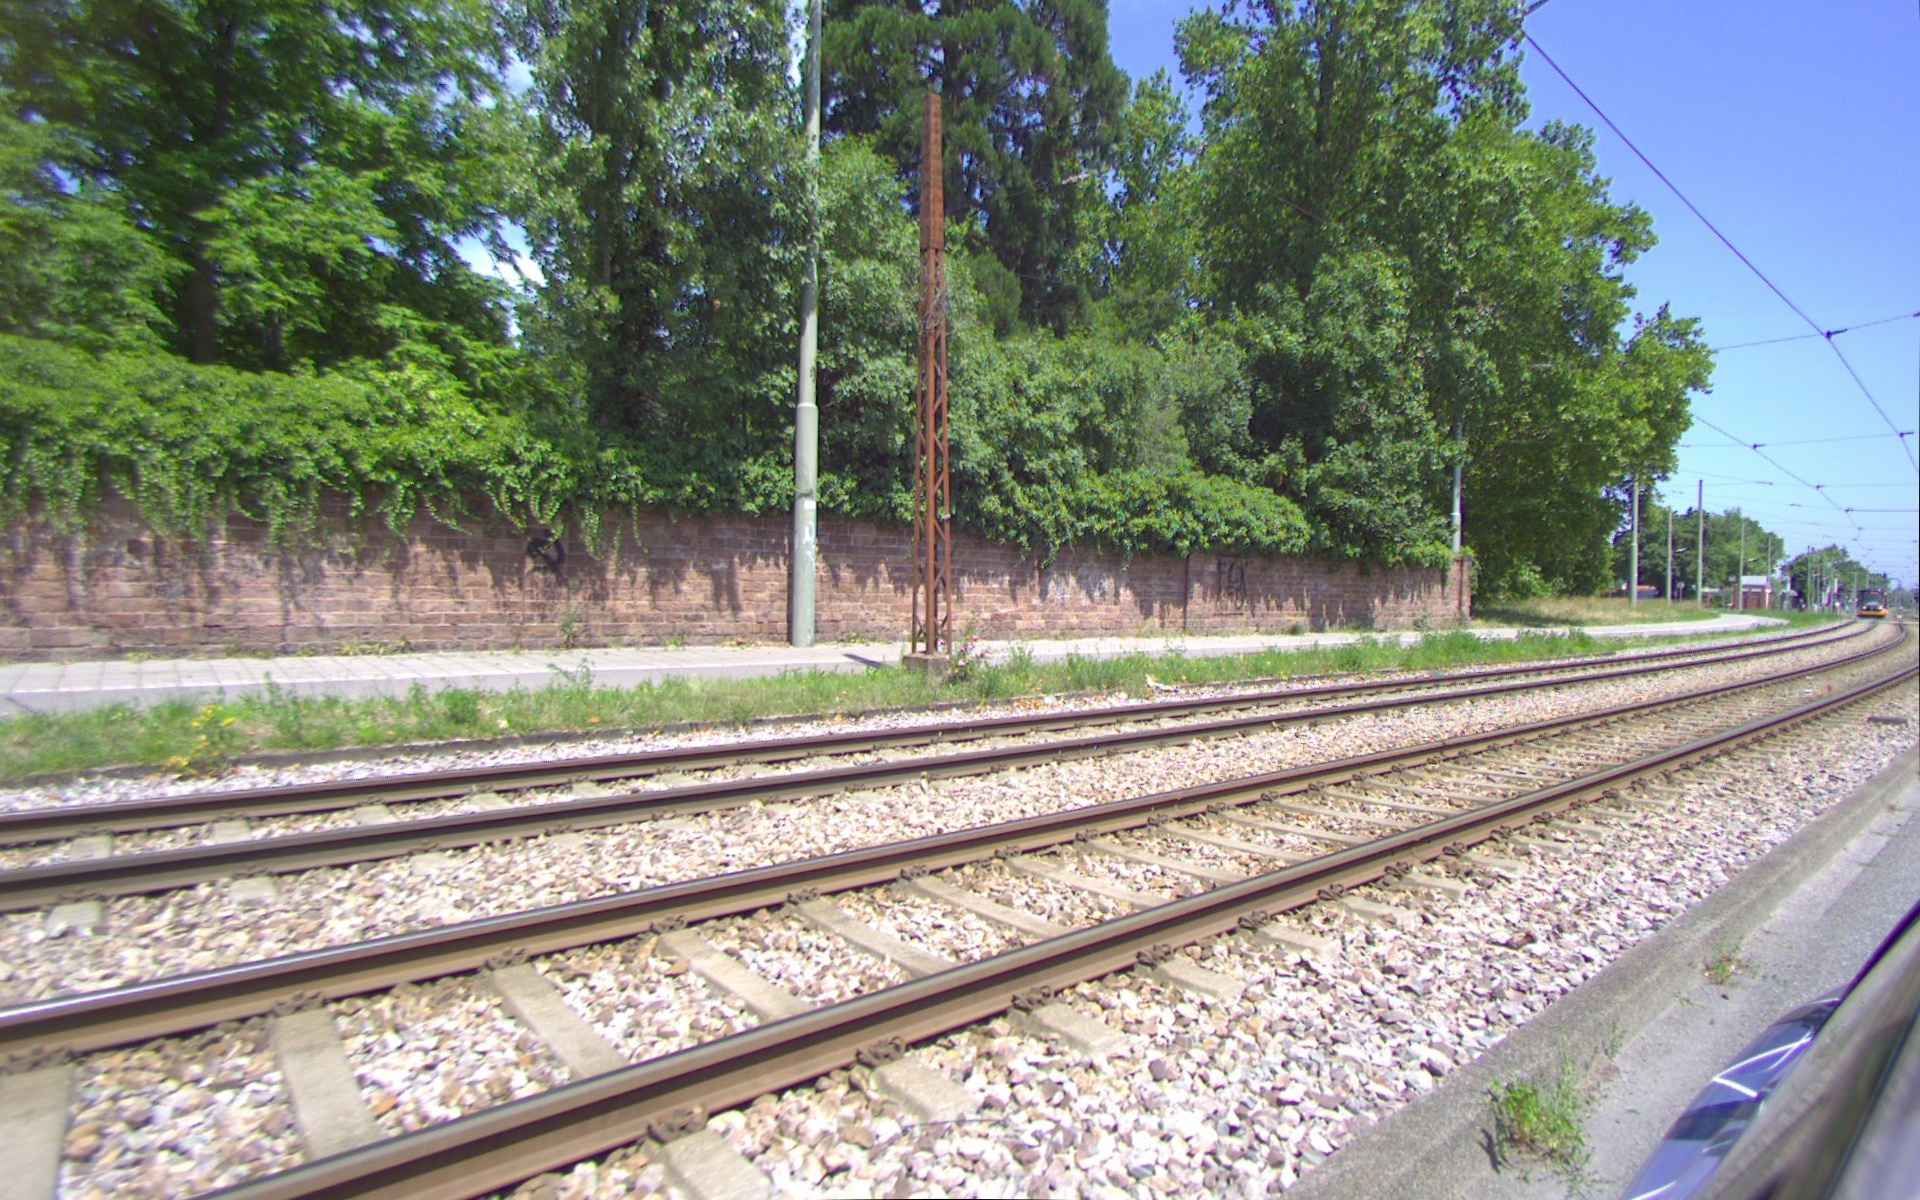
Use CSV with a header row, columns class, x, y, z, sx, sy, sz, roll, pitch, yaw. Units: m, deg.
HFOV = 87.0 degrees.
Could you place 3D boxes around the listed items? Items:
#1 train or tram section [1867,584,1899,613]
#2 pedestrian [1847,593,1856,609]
class,x,y,z,sx,sy,sz,roll,pitch,yaw
train or tram section,110.768,-0.149,121.435,2.519,3.364,7.143,2,1,44
pedestrian,103.129,0.140,117.130,0.631,1.781,0.808,0,0,31
